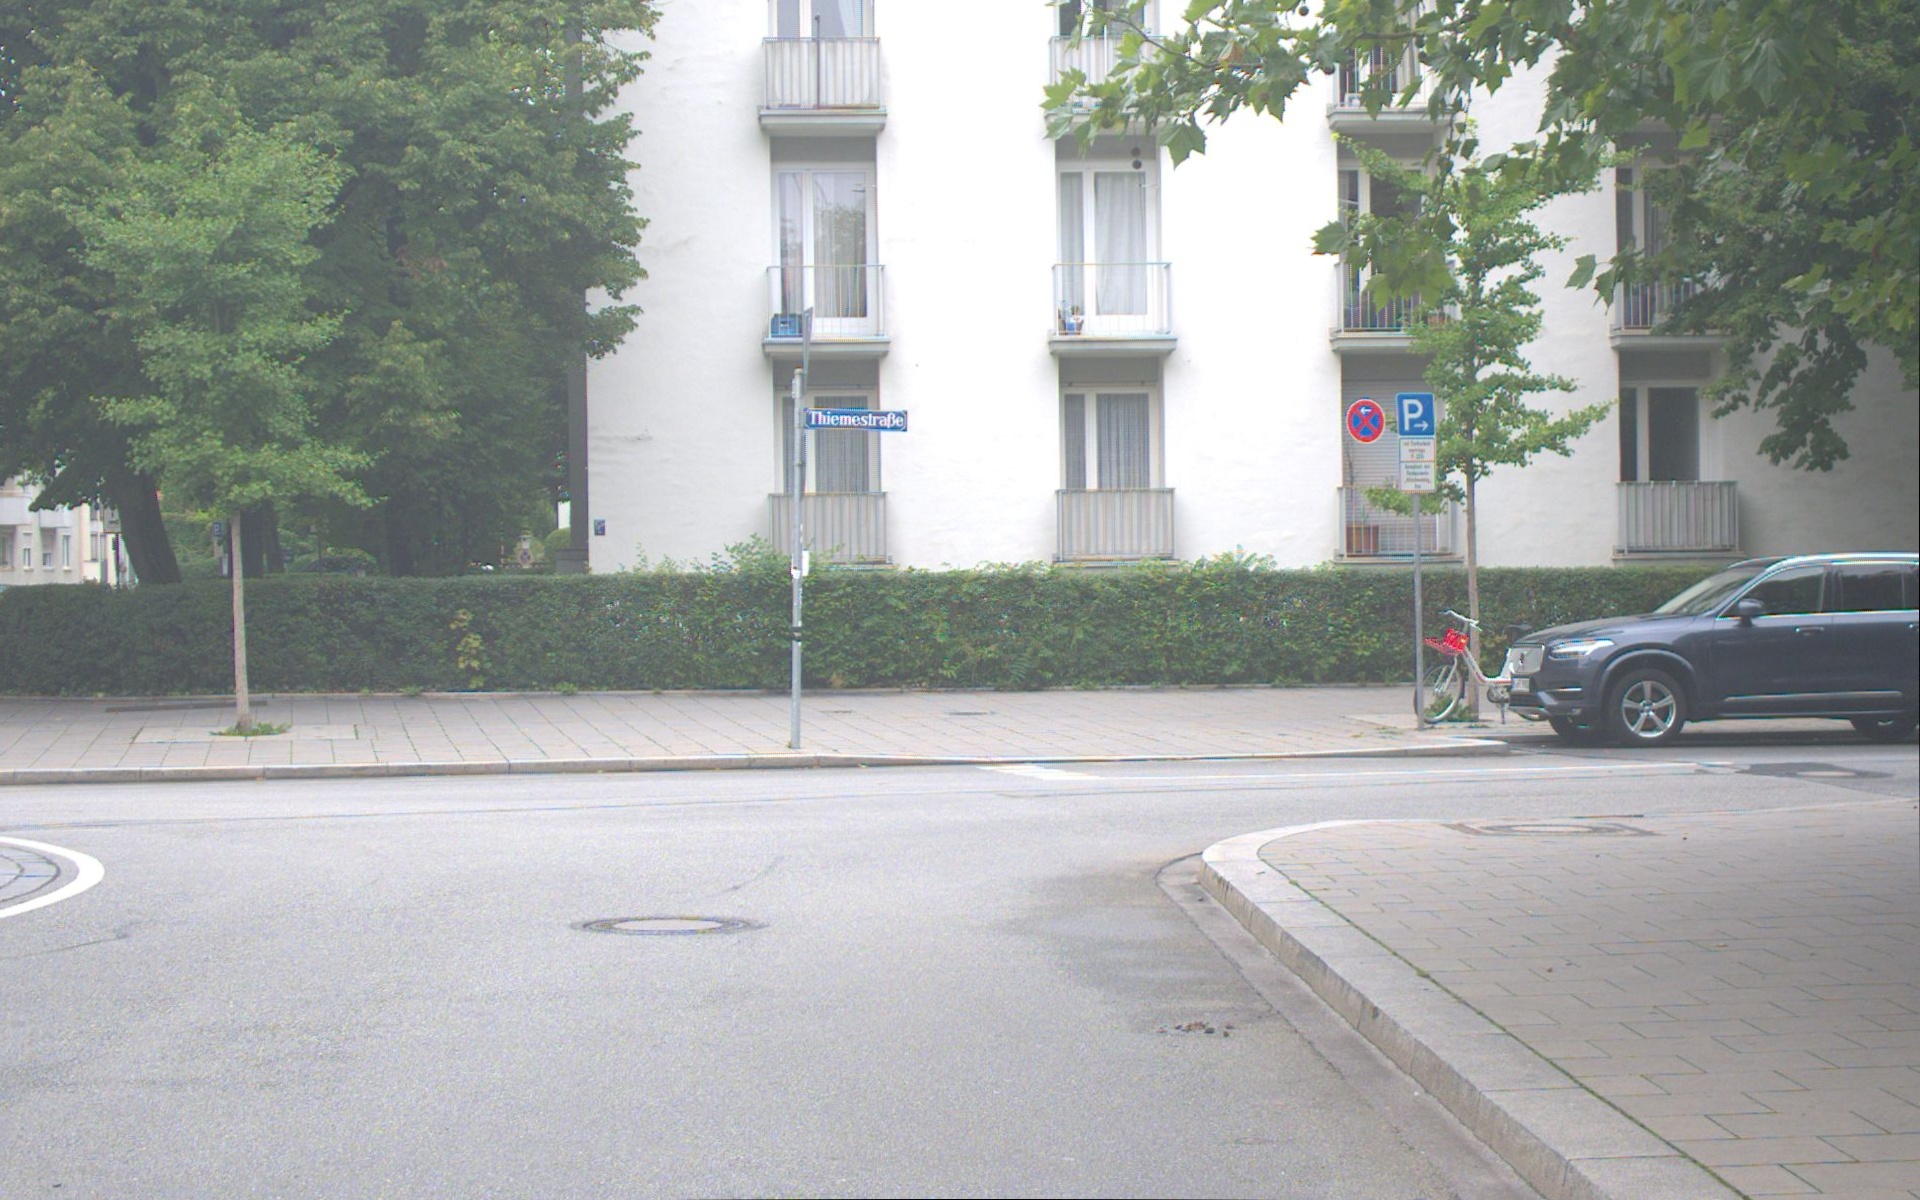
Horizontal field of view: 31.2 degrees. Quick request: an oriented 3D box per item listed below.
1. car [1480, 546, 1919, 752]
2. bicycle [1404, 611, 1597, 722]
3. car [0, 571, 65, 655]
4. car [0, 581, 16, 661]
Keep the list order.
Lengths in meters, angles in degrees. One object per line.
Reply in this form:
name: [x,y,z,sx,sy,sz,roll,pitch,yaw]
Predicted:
car: [7.464,0.430,31.628,4.896,1.786,2.000,-1,-1,-9]
bicycle: [5.329,0.645,33.905,1.824,1.045,0.492,-1,1,-15]
car: [-19.356,0.260,69.145,1.835,1.629,4.116,-2,1,-4]
car: [-18.985,0.432,64.546,1.835,1.500,4.116,-2,1,-8]
